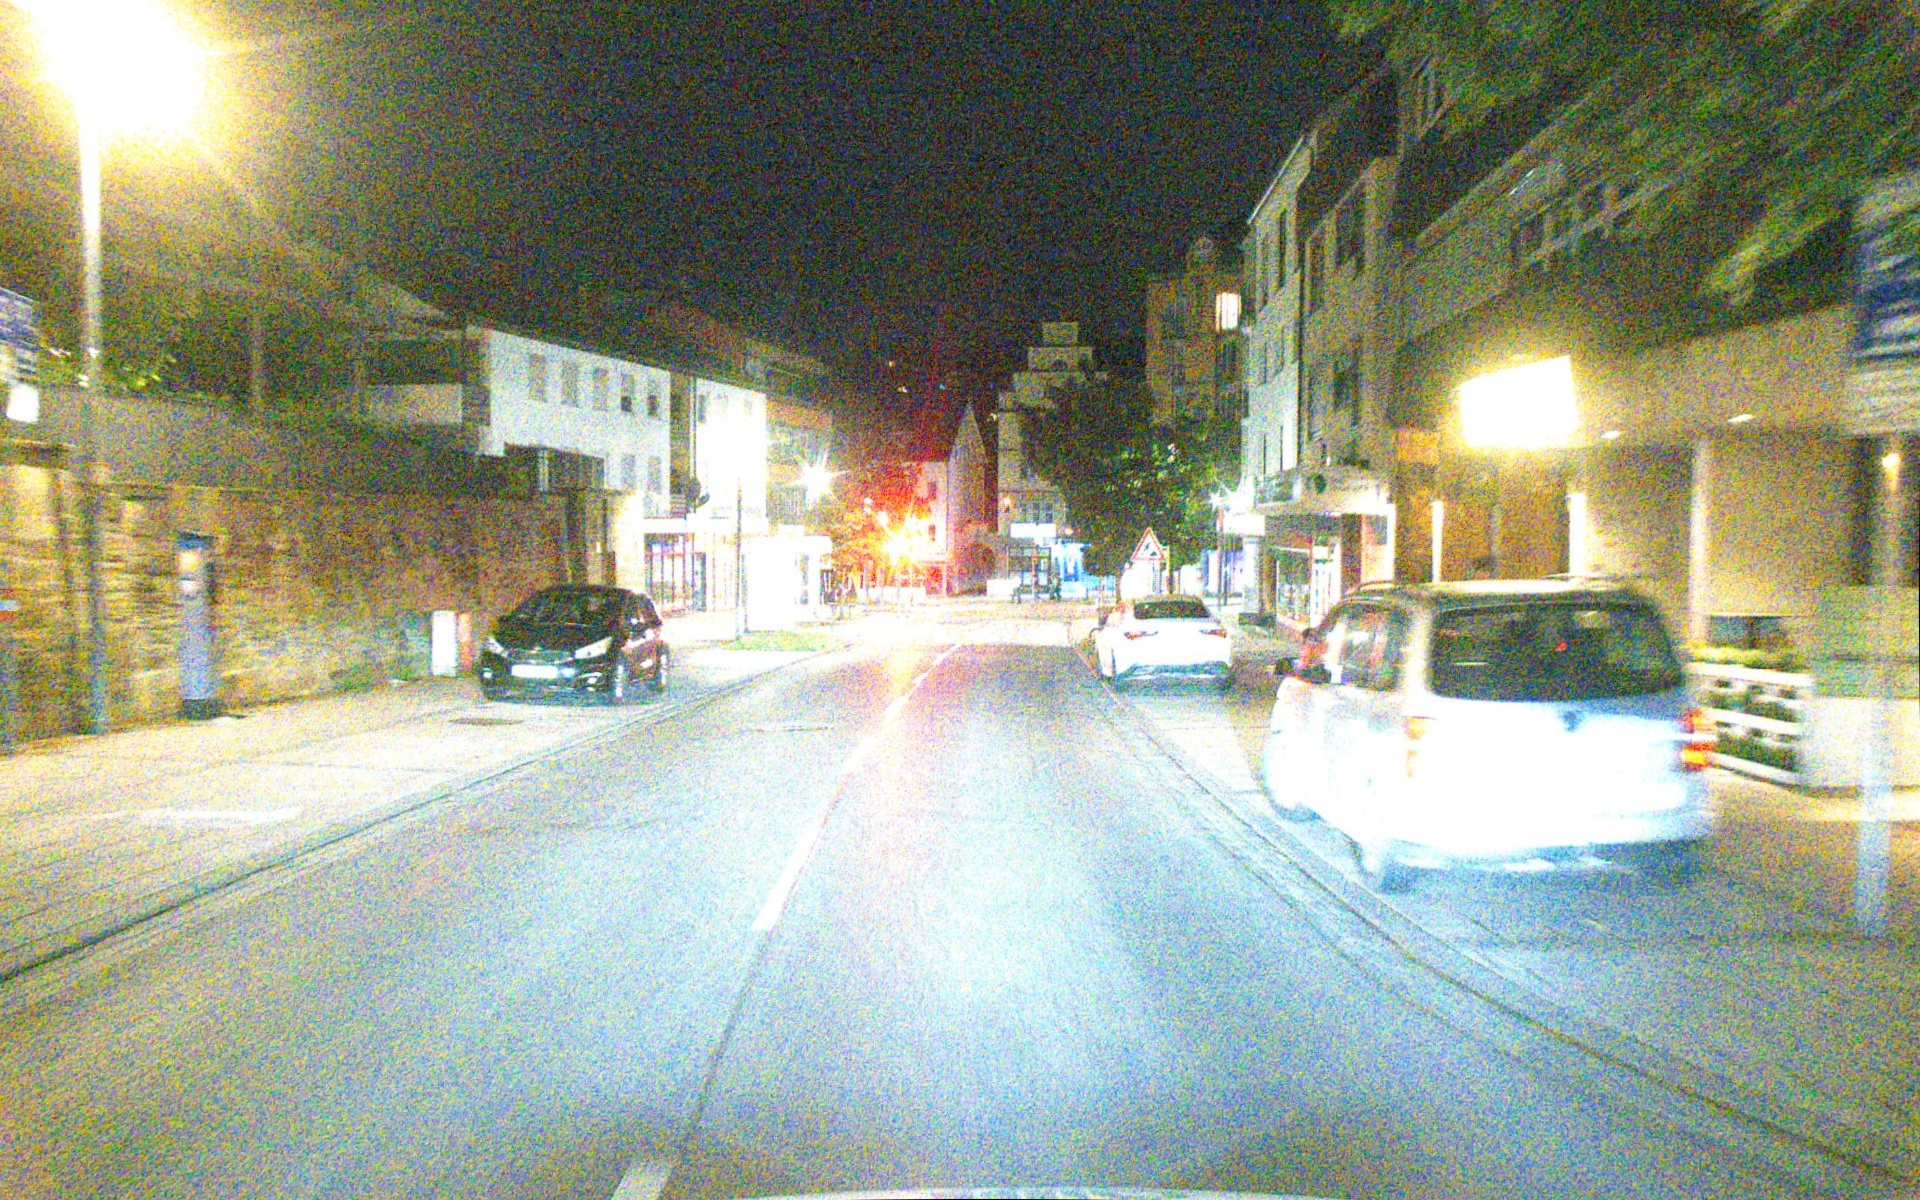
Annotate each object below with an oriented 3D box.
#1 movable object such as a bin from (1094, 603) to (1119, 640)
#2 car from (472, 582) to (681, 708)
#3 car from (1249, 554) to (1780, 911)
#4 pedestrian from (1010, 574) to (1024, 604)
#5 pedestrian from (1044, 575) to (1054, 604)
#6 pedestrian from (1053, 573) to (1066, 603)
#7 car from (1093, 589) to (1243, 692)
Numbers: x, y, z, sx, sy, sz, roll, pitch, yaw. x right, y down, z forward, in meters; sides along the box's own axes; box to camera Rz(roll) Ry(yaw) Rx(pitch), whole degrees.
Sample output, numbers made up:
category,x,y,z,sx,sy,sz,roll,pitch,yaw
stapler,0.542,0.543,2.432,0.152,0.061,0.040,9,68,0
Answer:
category,x,y,z,sx,sy,sz,roll,pitch,yaw
movable object such as a bin,3.865,0.571,43.741,0.514,0.953,0.628,2,-1,-7
car,-4.997,0.528,22.131,1.657,1.461,4.129,2,0,2
car,3.035,0.620,10.101,1.750,1.670,4.380,-1,0,0
pedestrian,3.512,-0.663,101.578,0.700,1.827,0.570,1,-1,11
pedestrian,5.650,-0.643,104.966,0.556,1.827,0.718,1,-1,1
pedestrian,6.162,-0.735,102.194,0.719,1.827,0.718,1,-1,1
car,3.195,0.578,26.234,1.819,1.467,4.594,-1,0,1
